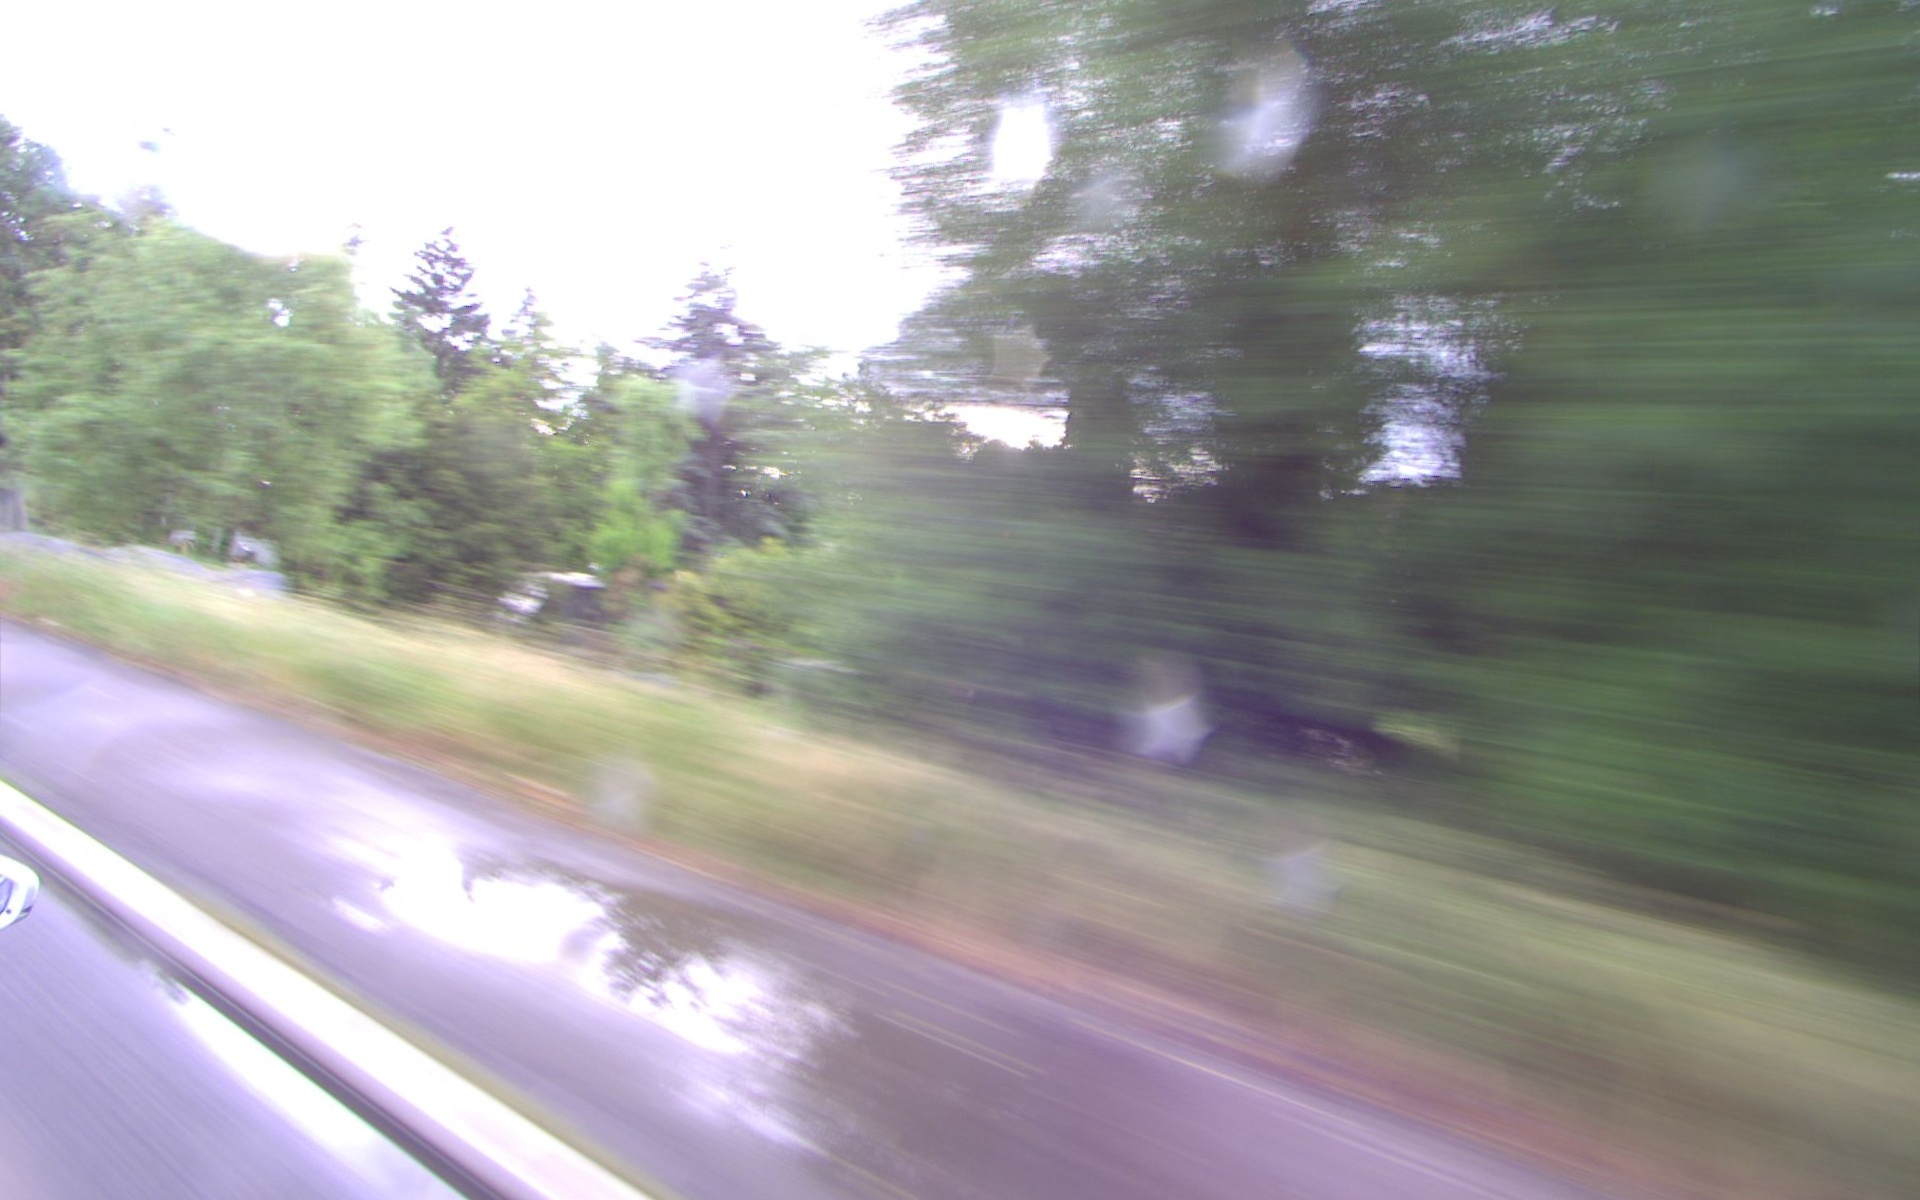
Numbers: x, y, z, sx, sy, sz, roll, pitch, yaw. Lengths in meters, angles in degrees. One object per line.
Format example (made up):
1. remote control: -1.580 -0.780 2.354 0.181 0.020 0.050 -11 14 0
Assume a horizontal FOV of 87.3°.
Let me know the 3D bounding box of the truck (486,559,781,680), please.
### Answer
1. truck: -8.211 0.629 26.159 2.038 2.387 7.034 7 -1 42
